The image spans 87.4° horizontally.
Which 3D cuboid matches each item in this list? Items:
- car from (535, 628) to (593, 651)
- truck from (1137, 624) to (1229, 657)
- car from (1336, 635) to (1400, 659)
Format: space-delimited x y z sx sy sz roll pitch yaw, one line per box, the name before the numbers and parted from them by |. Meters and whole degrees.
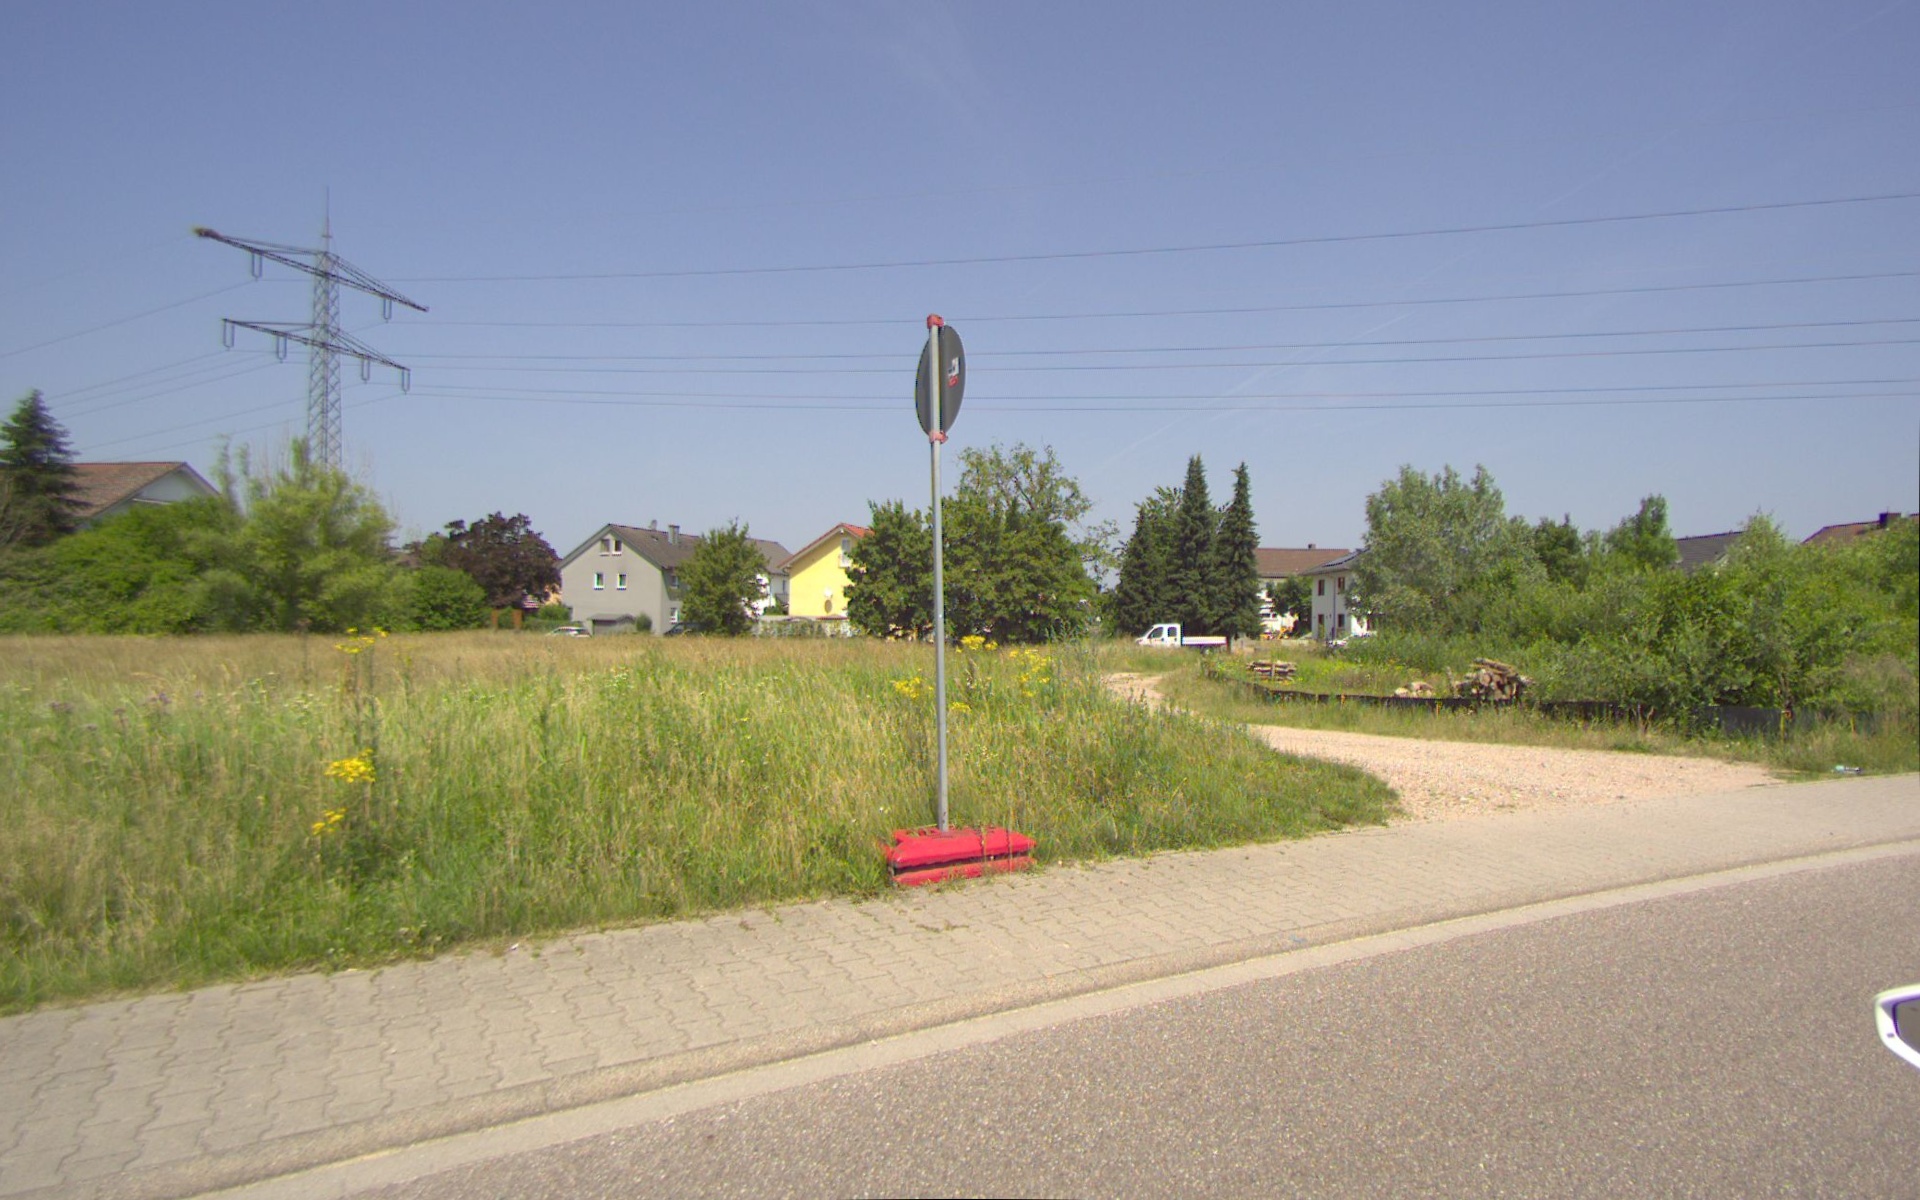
car | -31.065 3.073 78.884 3.922 1.632 2.000 1 -1 21
truck | 14.884 2.678 67.384 5.771 2.037 2.122 1 -1 5
car | 30.385 3.470 74.908 4.169 1.717 2.001 0 -1 12
